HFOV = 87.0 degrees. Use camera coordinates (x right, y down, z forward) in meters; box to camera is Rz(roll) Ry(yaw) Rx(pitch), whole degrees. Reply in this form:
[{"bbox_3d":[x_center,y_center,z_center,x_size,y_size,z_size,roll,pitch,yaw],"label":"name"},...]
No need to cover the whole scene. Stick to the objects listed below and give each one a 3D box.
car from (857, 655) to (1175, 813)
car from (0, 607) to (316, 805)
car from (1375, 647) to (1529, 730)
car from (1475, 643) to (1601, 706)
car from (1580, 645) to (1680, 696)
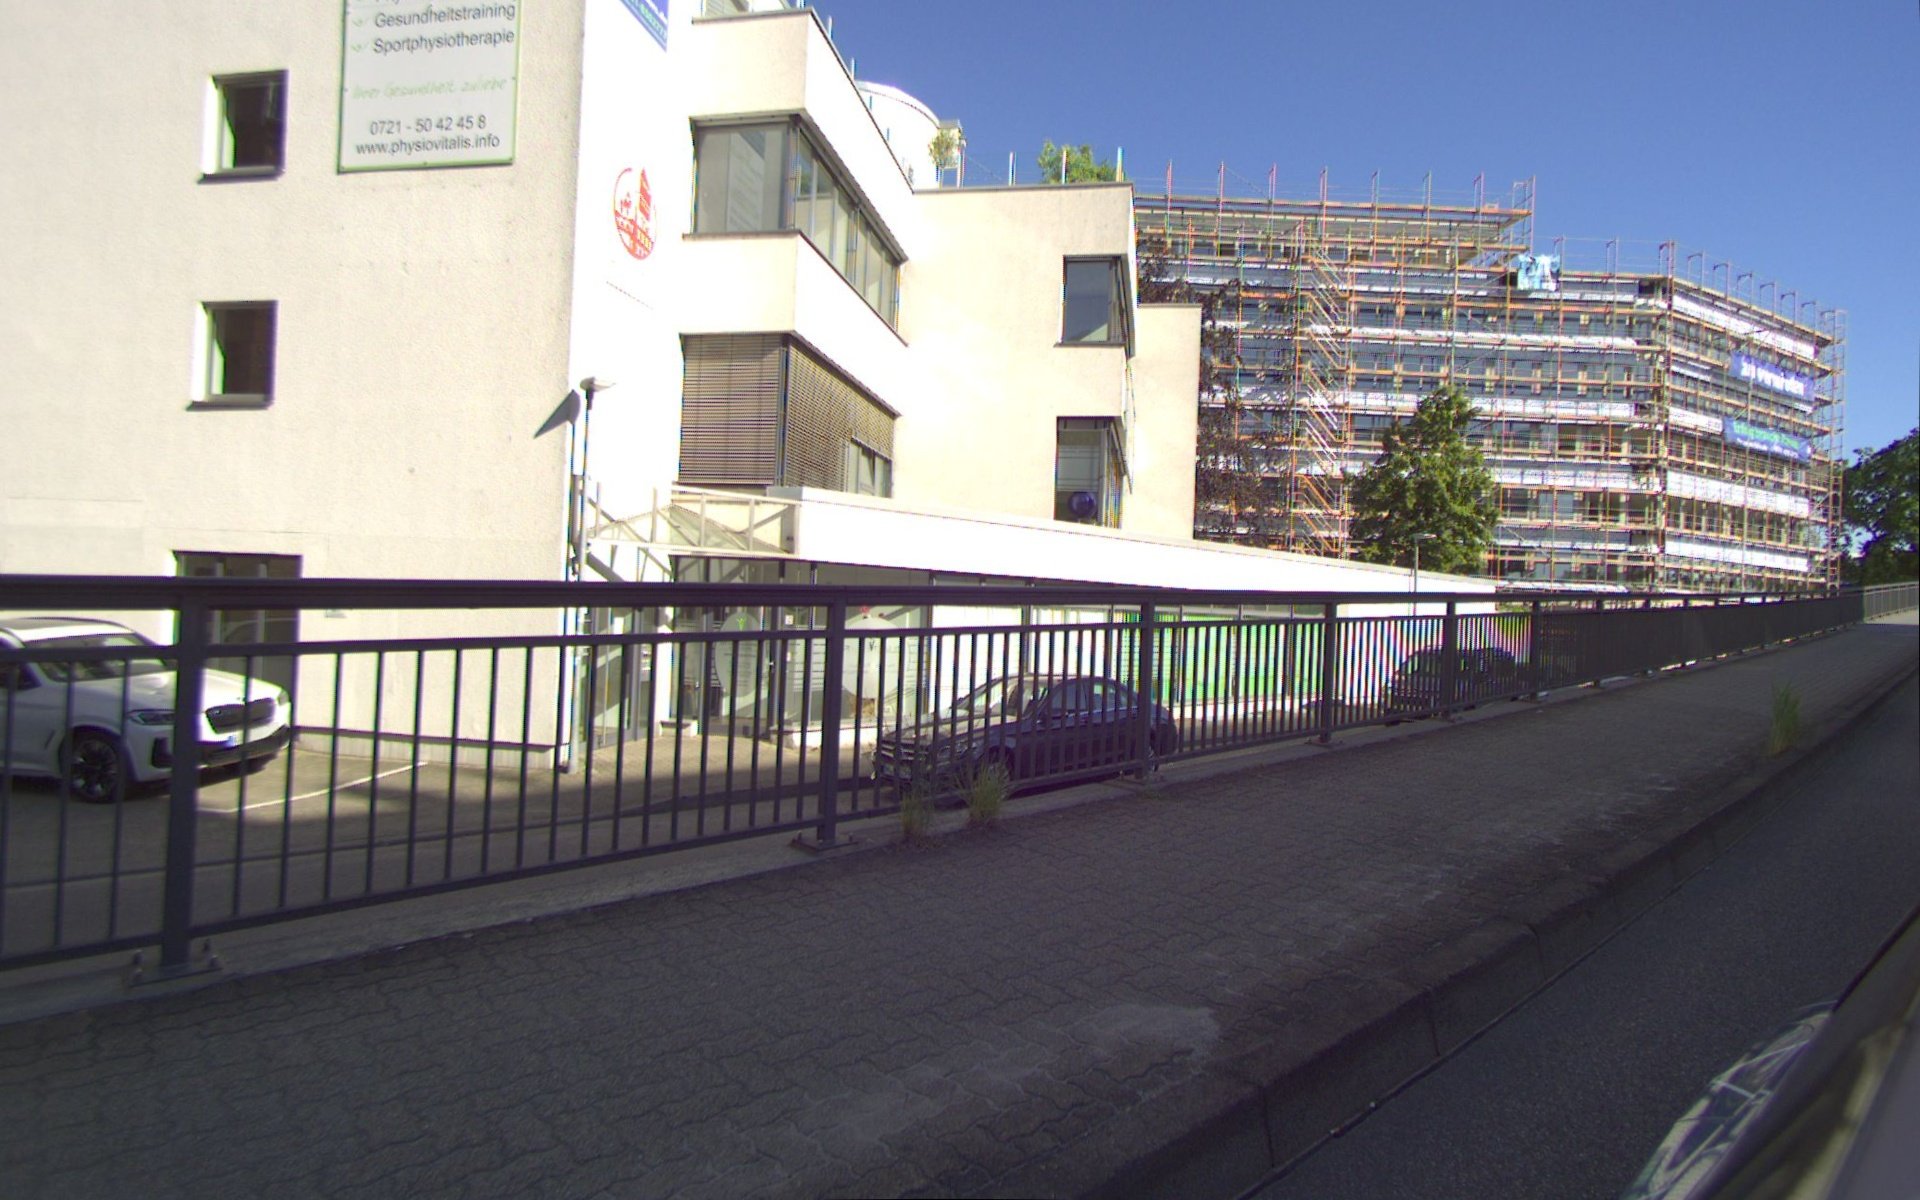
[{"bbox_3d":[0.812,1.542,12.805,3.929,1.541,1.724,1,-1,-41],"label":"car"},{"bbox_3d":[-9.618,1.015,10.851,4.455,1.707,1.840,2,0,9],"label":"car"},{"bbox_3d":[10.862,1.855,22.225,3.931,1.541,1.723,1,-1,-42],"label":"car"},{"bbox_3d":[14.984,1.861,26.156,3.931,1.410,1.723,1,-1,-42],"label":"car"},{"bbox_3d":[21.090,2.166,31.796,3.931,1.410,1.723,1,-1,-42],"label":"car"}]
